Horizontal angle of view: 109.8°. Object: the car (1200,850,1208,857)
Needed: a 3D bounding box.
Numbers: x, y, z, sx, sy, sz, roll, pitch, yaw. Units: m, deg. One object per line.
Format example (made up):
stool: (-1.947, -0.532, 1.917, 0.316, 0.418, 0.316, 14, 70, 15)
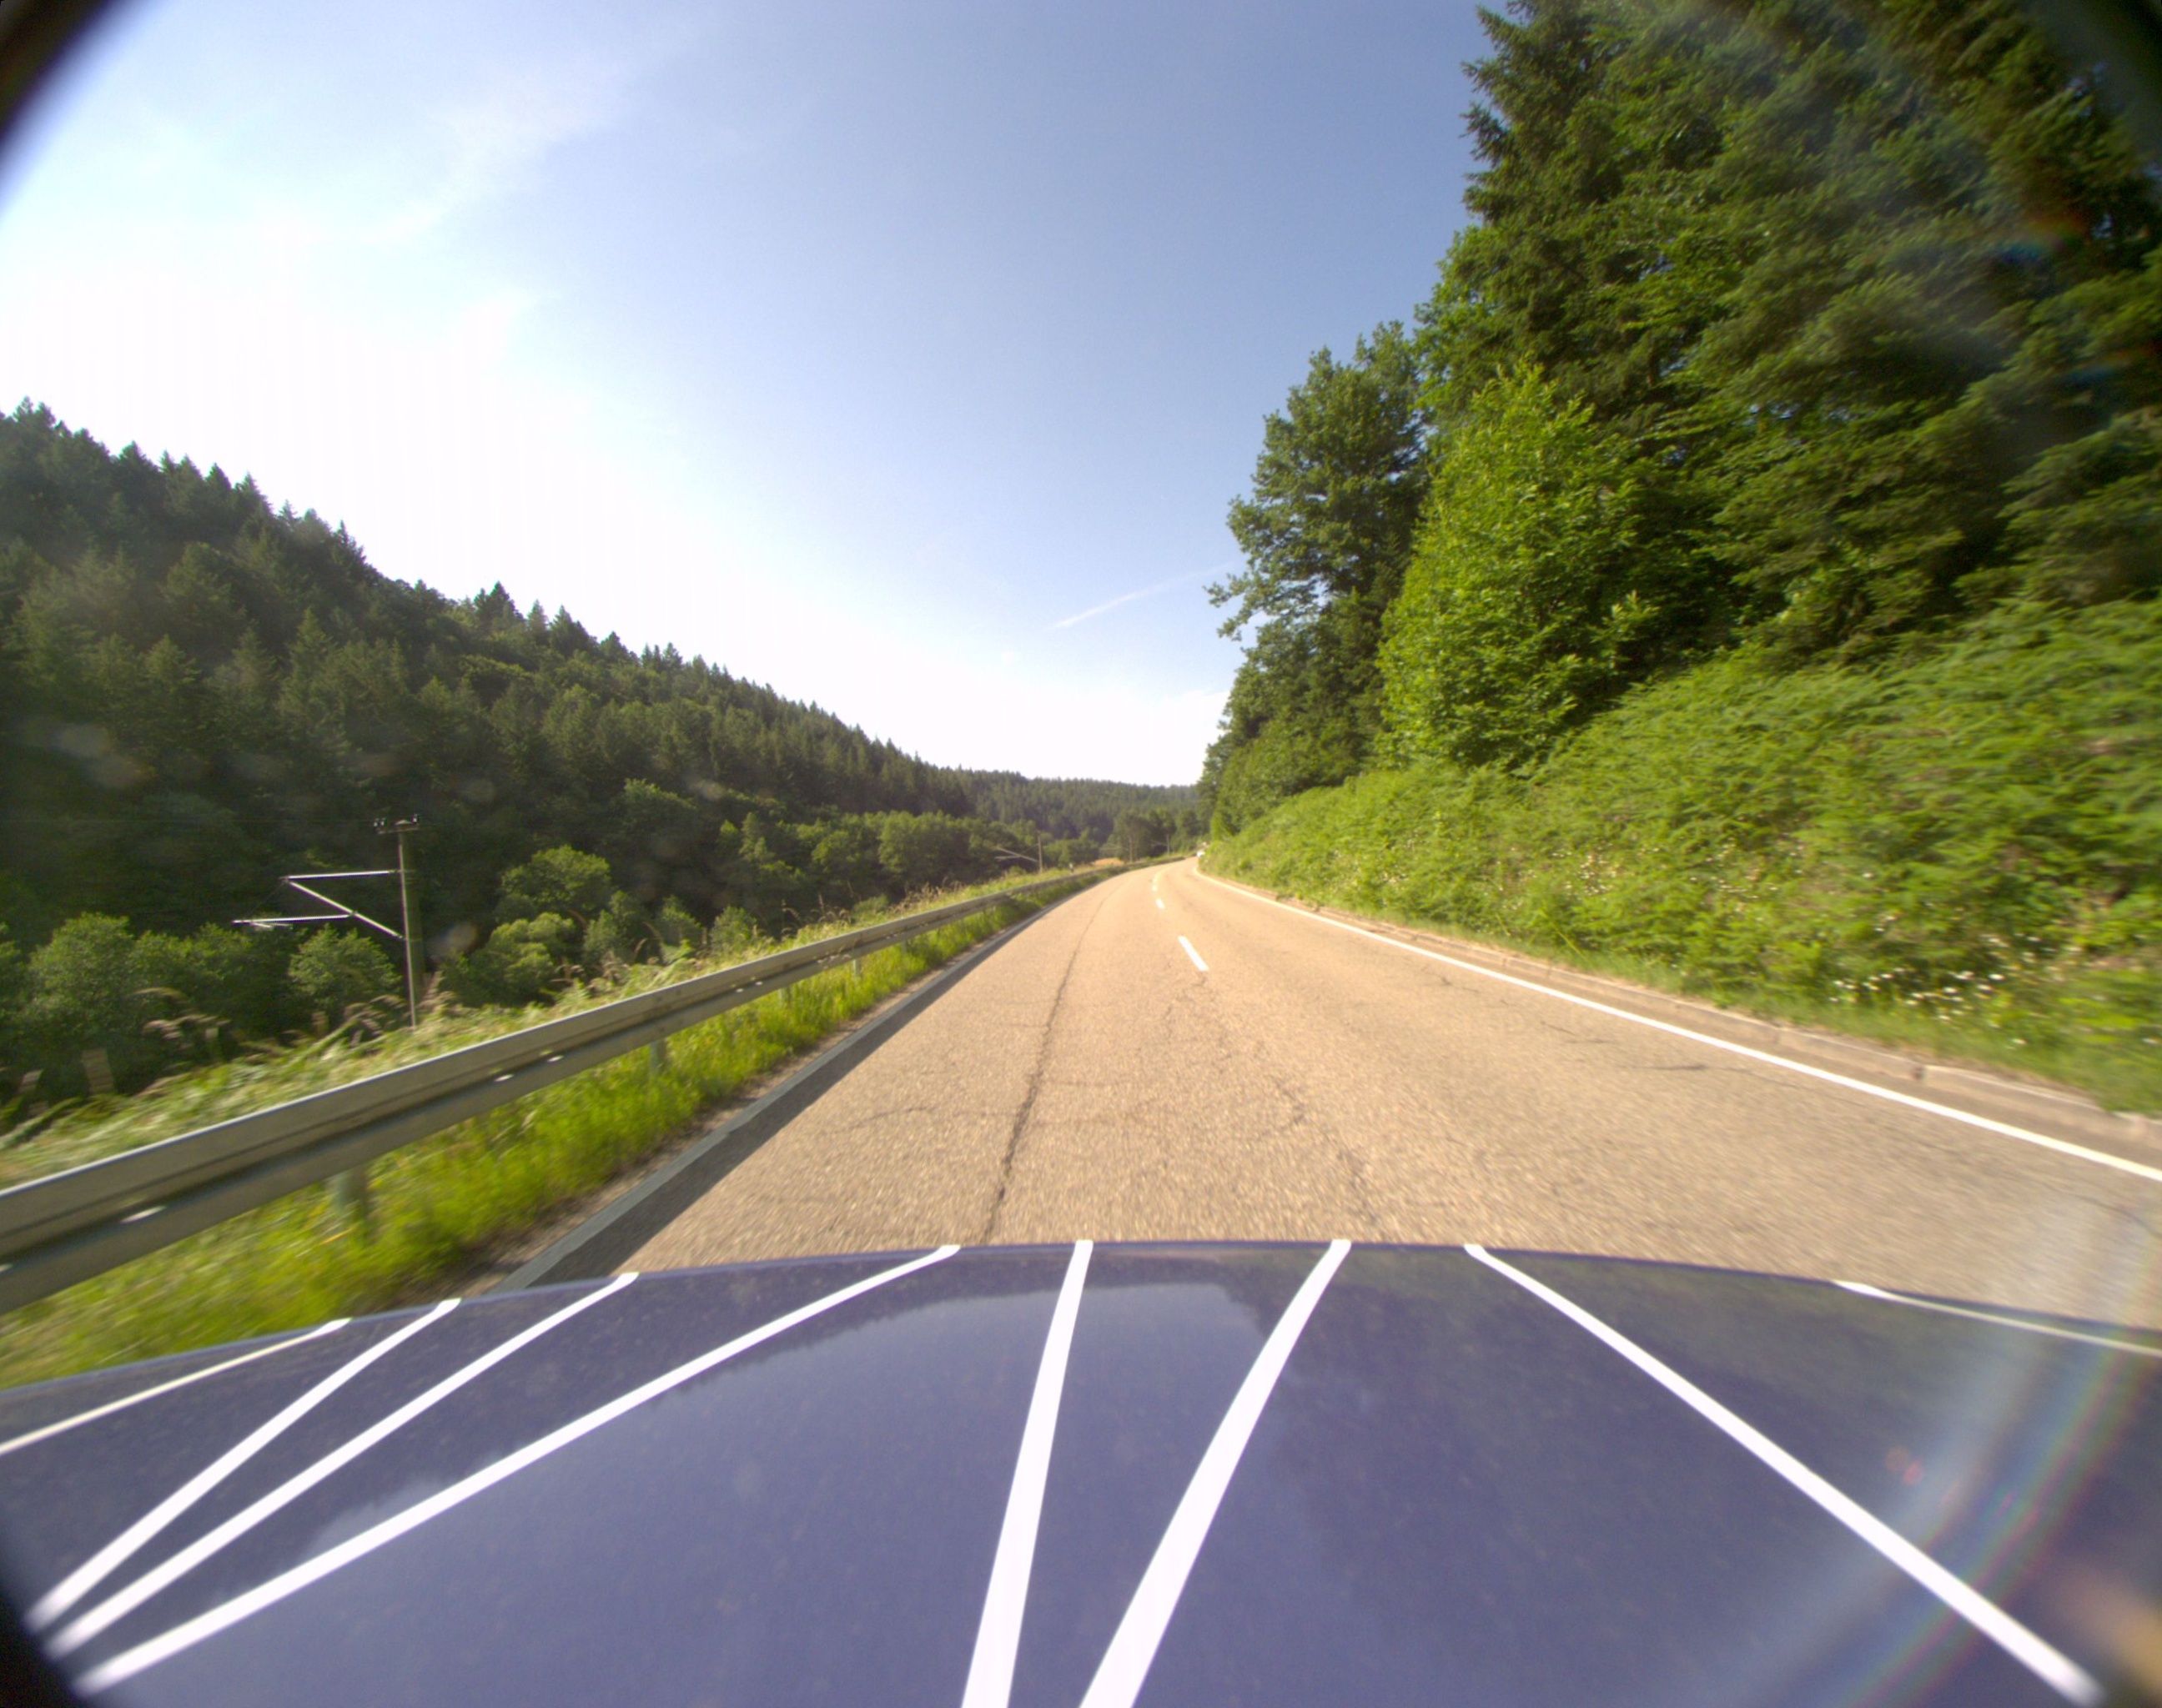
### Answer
car: (30.553, -0.237, 188.685, 1.702, 1.543, 3.789, -4, 1, 5)
